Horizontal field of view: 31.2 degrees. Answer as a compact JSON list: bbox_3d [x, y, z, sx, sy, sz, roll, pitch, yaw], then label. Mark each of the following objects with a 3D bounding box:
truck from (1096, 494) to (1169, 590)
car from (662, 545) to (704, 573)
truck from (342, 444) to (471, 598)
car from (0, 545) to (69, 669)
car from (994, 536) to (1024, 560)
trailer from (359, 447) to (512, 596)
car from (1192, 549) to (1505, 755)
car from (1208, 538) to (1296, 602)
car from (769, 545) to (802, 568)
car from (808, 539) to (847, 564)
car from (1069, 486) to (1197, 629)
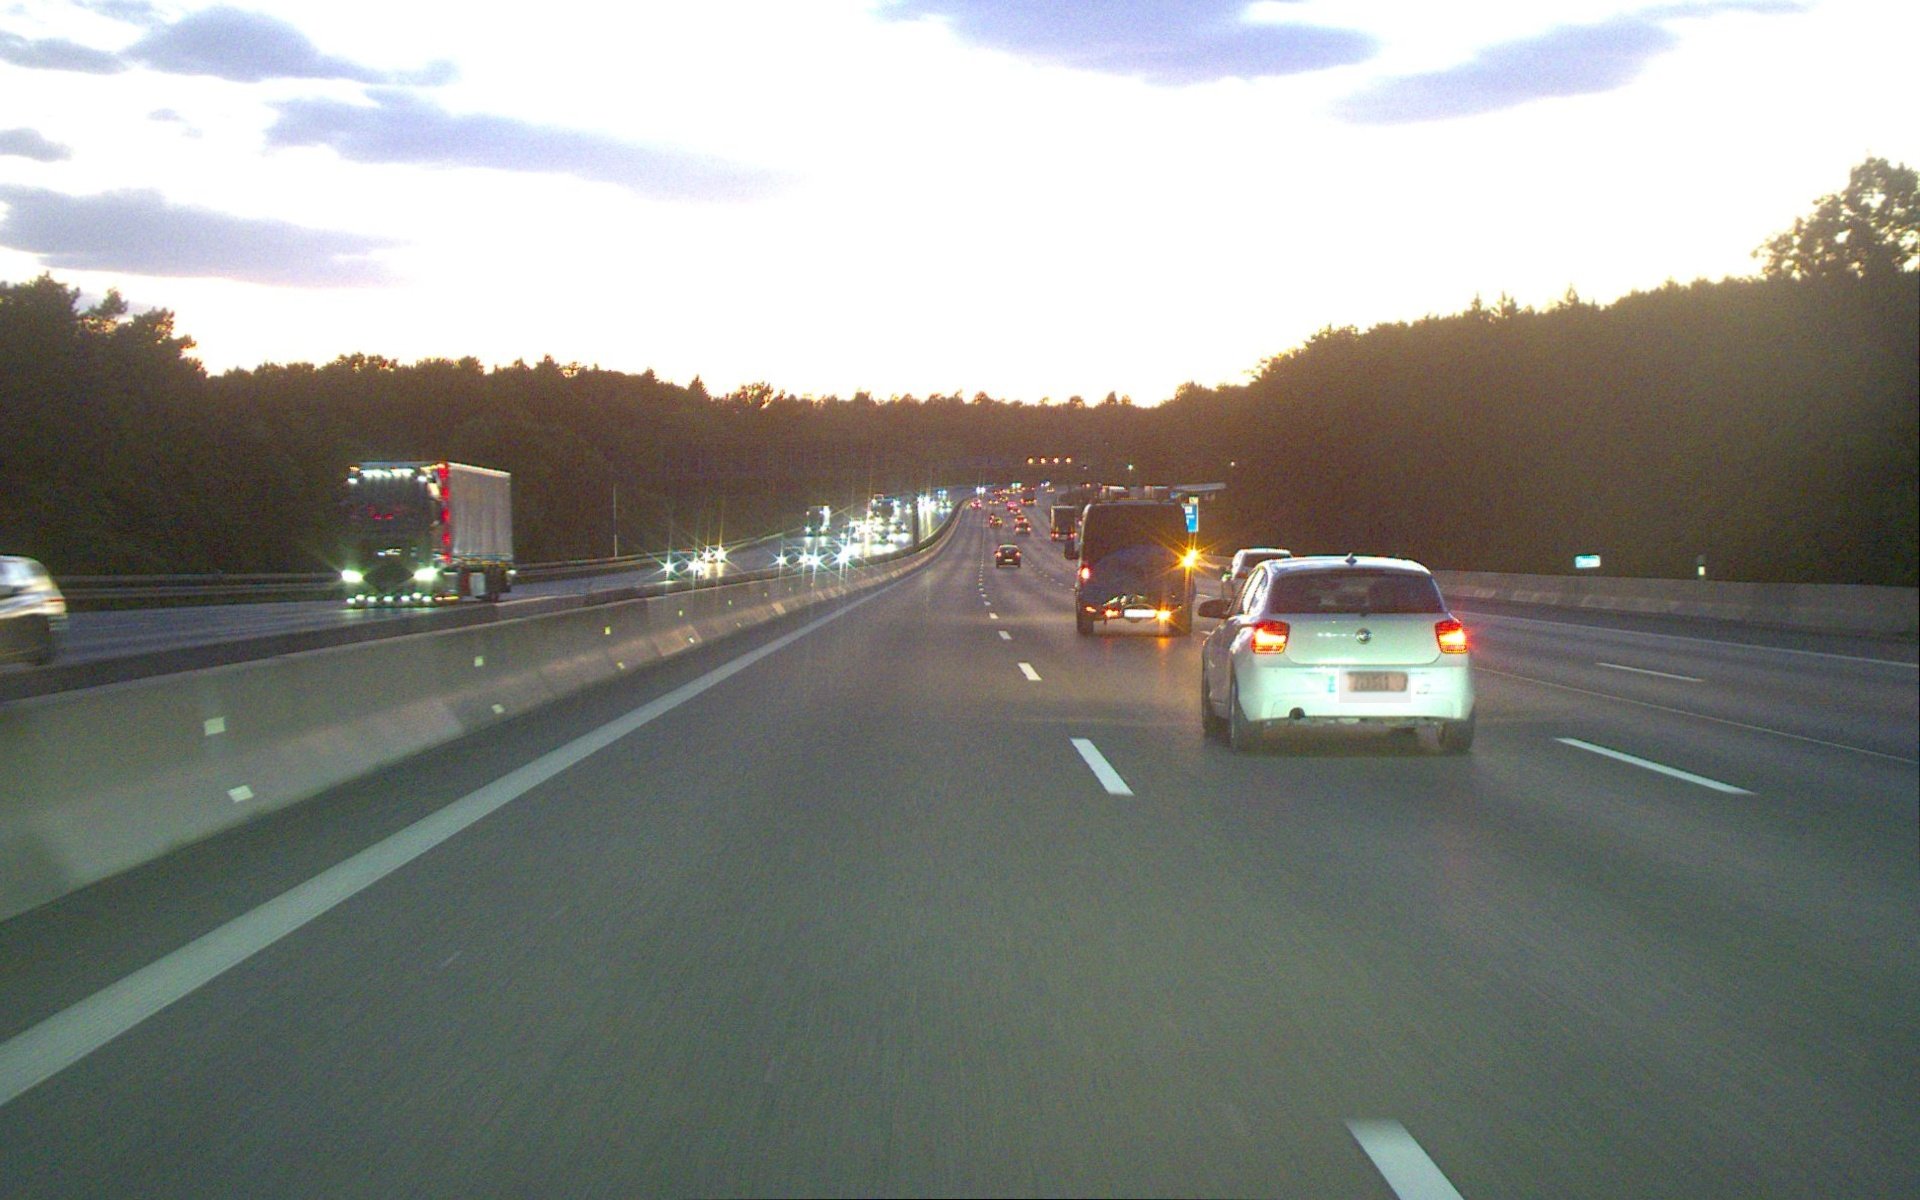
[{"bbox_3d":[10.909,-3.676,218.642,4.149,5.836,14.296,0,1,1],"label":"truck"},{"bbox_3d":[-14.558,-2.161,180.944,1.912,1.420,4.747,0,1,-1],"label":"car"},{"bbox_3d":[-15.269,-2.177,95.282,2.649,4.117,6.525,0,1,-1],"label":"truck"},{"bbox_3d":[-11.761,0.061,39.594,1.776,1.396,4.939,0,1,-1],"label":"car"},{"bbox_3d":[3.275,-3.488,229.294,1.837,1.565,4.000,0,1,3],"label":"car"},{"bbox_3d":[-15.420,-2.290,102.160,2.649,4.117,14.328,0,1,-1],"label":"trailer"},{"bbox_3d":[2.869,0.360,26.109,1.859,1.437,3.720,1,0,-1],"label":"car"},{"bbox_3d":[7.154,-0.760,84.564,2.008,1.533,4.000,0,1,3],"label":"car"},{"bbox_3d":[-11.147,-2.796,220.036,1.848,1.409,4.791,0,1,0],"label":"car"},{"bbox_3d":[-7.548,-2.787,196.303,1.993,1.420,5.145,0,1,1],"label":"car"},{"bbox_3d":[3.048,-0.758,61.010,2.166,2.410,5.564,0,1,3],"label":"car"}]
